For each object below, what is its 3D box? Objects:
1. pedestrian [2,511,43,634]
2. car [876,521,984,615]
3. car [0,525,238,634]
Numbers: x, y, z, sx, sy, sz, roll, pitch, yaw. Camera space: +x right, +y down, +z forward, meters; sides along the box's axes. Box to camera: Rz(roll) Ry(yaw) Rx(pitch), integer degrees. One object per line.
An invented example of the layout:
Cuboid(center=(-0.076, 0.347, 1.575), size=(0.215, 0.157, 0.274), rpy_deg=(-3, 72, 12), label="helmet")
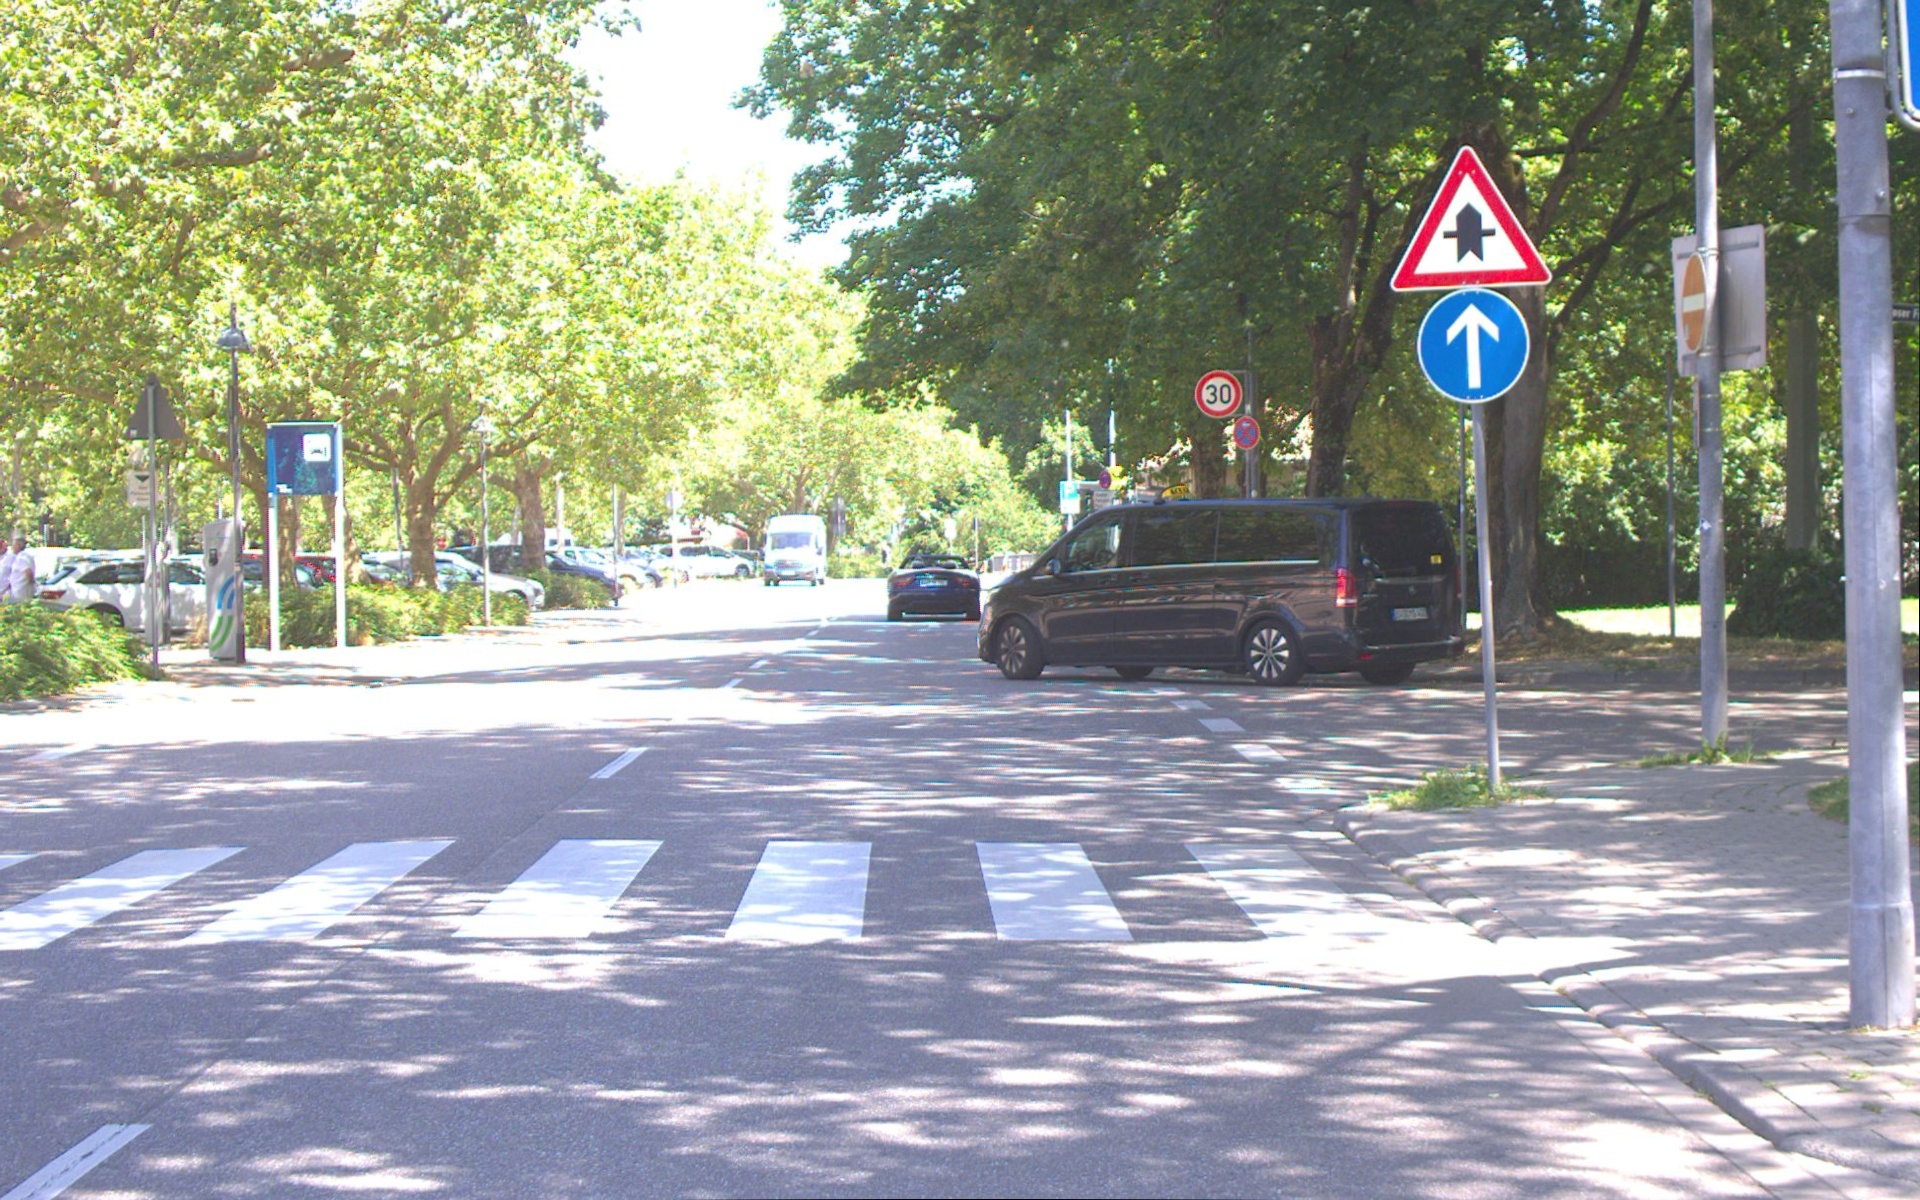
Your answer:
Cuboid(center=(-15.512, -0.456, 56.893), size=(0.624, 2.007, 0.570), rpy_deg=(-1, -1, -14), label="pedestrian")
Cuboid(center=(-0.601, -0.655, 69.900), size=(2.125, 1.842, 4.048), rpy_deg=(0, 1, 0), label="car")
Cuboid(center=(-14.434, -0.353, 58.498), size=(3.986, 1.775, 2.001), rpy_deg=(-1, 0, -18), label="car")
